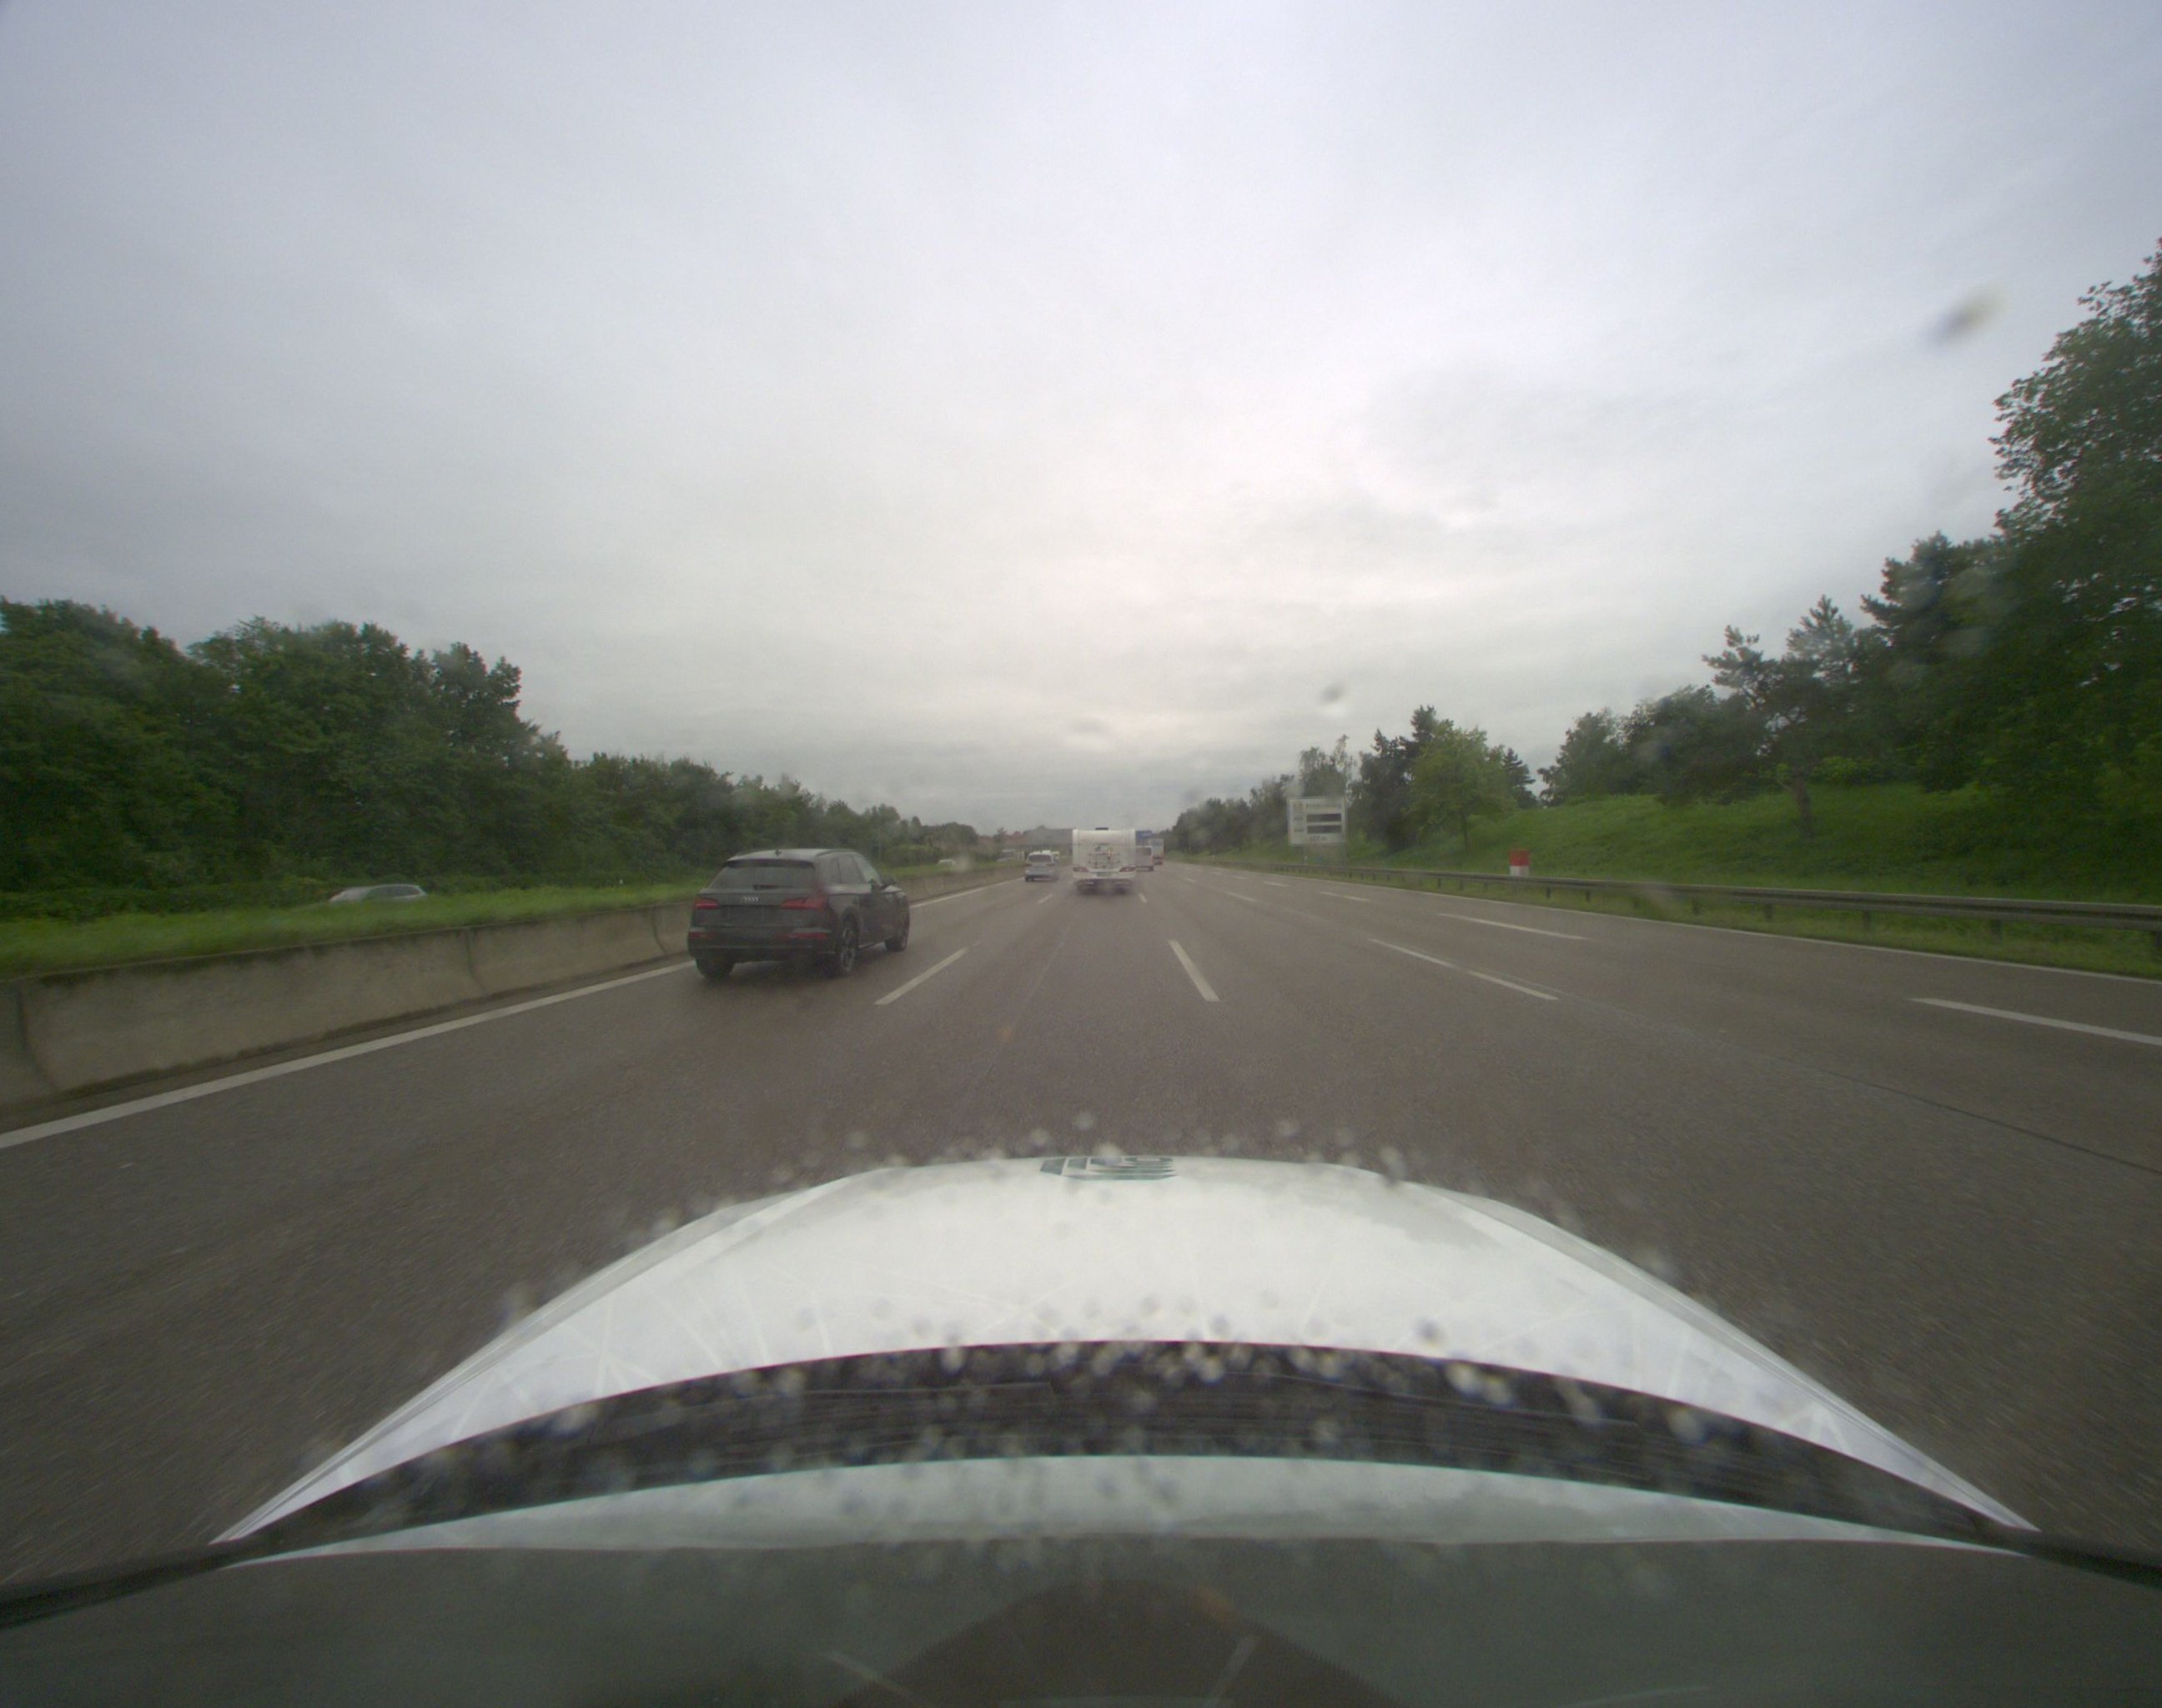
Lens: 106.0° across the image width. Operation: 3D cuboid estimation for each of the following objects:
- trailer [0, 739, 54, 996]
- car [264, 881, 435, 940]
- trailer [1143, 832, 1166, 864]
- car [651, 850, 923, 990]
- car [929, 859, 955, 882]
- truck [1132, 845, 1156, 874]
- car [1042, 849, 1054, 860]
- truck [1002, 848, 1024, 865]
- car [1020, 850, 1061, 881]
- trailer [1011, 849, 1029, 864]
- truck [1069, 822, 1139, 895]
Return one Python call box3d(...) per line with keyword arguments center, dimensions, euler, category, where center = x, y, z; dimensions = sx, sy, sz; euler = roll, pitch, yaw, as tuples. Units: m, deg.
box3d(center=(-16.141, 0.160, 7.361), dimensions=(2.920, 3.459, 8.324), euler=(0, 0, 2), category="trailer")
box3d(center=(-25.665, 1.927, 28.804), dimensions=(1.985, 1.788, 4.308), euler=(0, 0, 3), category="car")
box3d(center=(11.682, -0.857, 130.378), dimensions=(3.087, 4.922, 11.799), euler=(0, 0, 3), category="trailer")
box3d(center=(-3.862, 0.772, 11.895), dimensions=(1.986, 1.600, 5.125), euler=(0, 0, 1), category="car")
box3d(center=(-13.026, 1.529, 76.599), dimensions=(1.614, 2.014, 4.002), euler=(-1, 0, 2), category="car")
box3d(center=(6.027, 0.534, 78.809), dimensions=(2.046, 2.770, 5.550), euler=(0, 0, 1), category="truck")
box3d(center=(-8.117, 0.146, 203.446), dimensions=(2.312, 2.734, 7.320), euler=(0, 0, 3), category="car")
box3d(center=(-13.461, 0.509, 162.222), dimensions=(2.872, 3.221, 11.366), euler=(0, 0, 3), category="truck")
box3d(center=(-2.371, 0.660, 49.092), dimensions=(2.120, 1.706, 4.114), euler=(-1, 0, 1), category="car")
box3d(center=(-12.843, 0.576, 171.901), dimensions=(2.766, 3.077, 7.878), euler=(0, 0, 3), category="trailer")
box3d(center=(0.930, 0.188, 33.576), dimensions=(2.651, 2.742, 5.079), euler=(0, 0, 1), category="truck")
